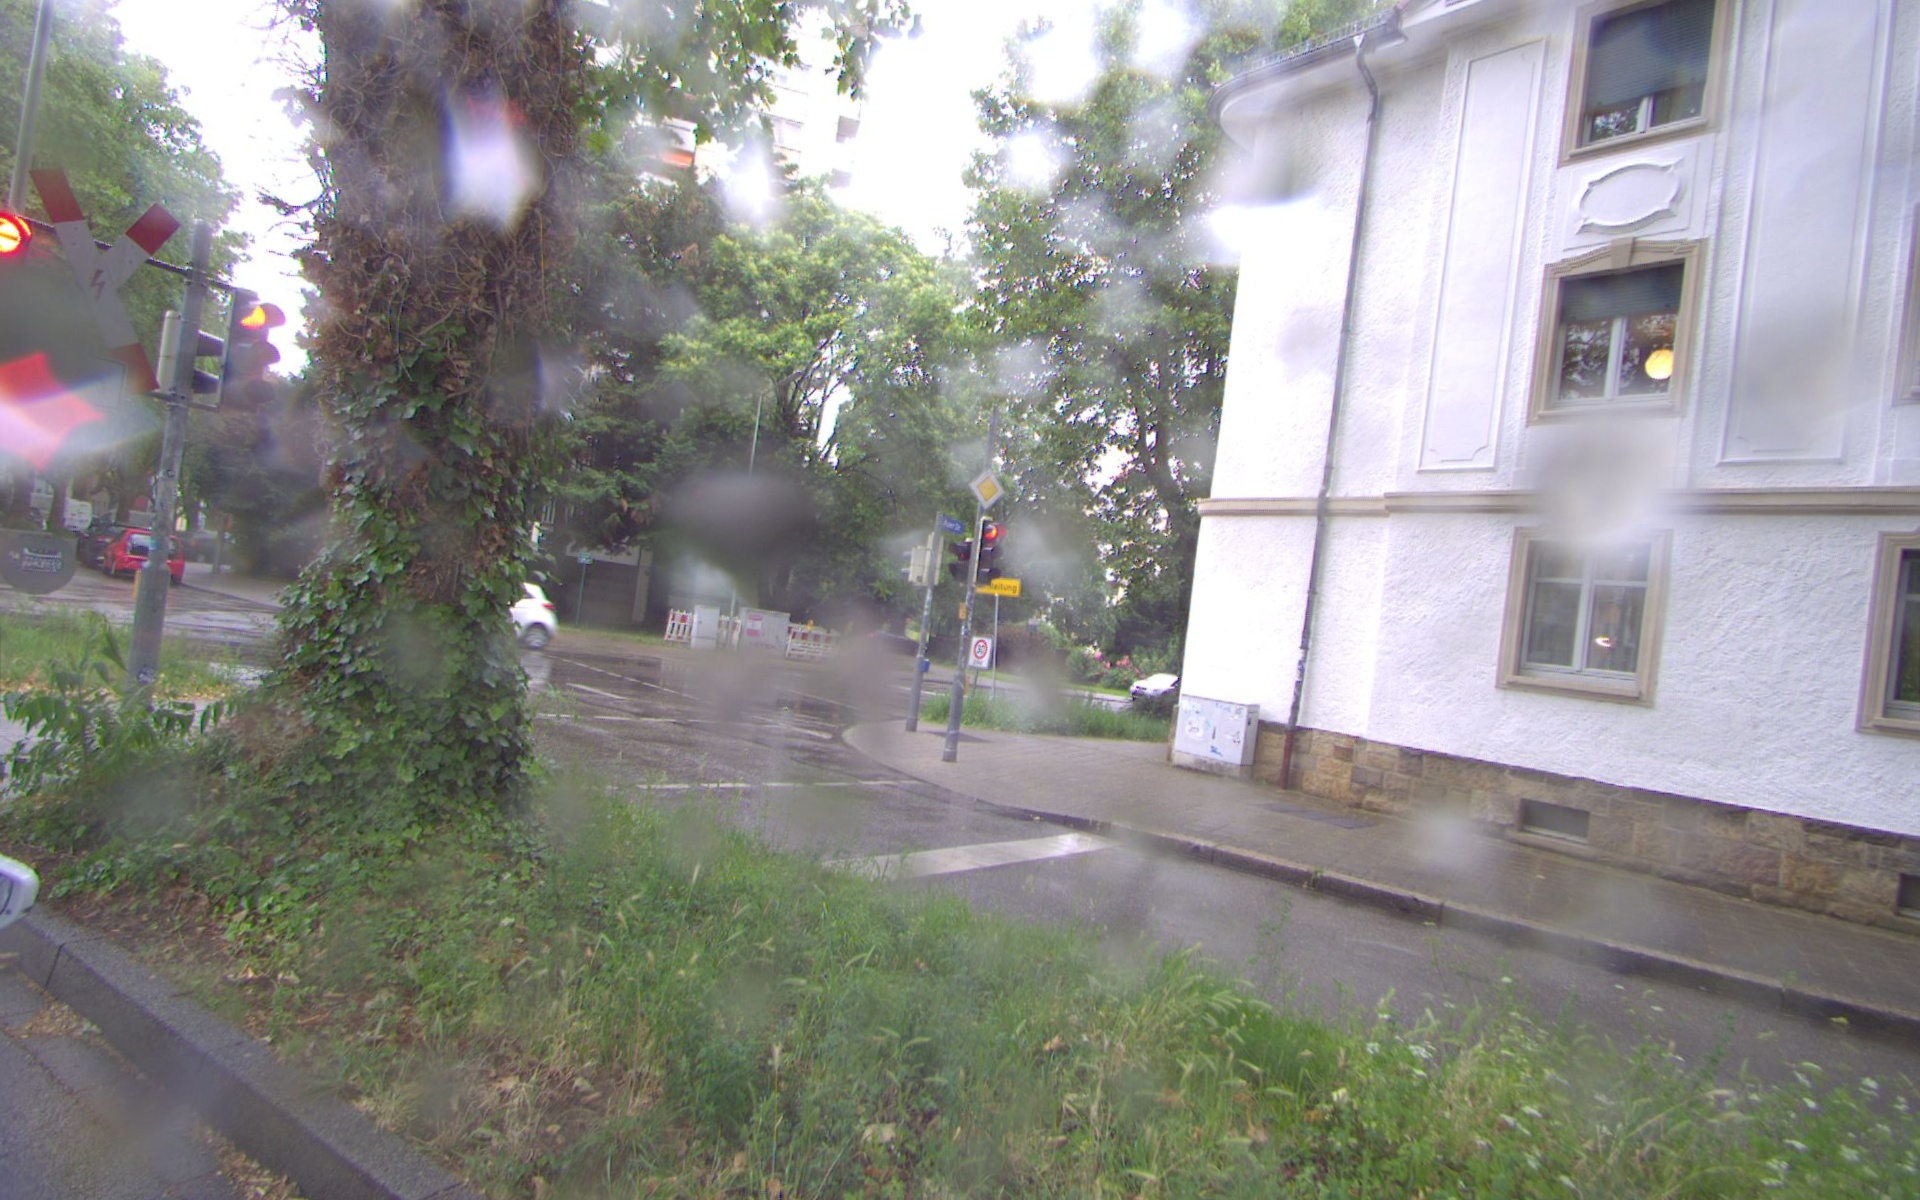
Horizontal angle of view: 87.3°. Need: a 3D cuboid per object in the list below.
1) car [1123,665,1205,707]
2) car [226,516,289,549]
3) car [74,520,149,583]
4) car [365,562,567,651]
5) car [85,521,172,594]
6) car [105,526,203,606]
[{"bbox_3d":[9.282,3.910,45.643,3.630,1.504,1.704,8,0,-43],"label":"car"},{"bbox_3d":[-57.123,-5.465,81.850,3.969,2.038,1.689,7,0,-39],"label":"car"},{"bbox_3d":[-32.898,-1.902,38.980,1.986,2.038,3.953,7,0,-42],"label":"car"},{"bbox_3d":[-10.947,0.168,22.416,3.629,1.504,1.704,8,0,-43],"label":"car"},{"bbox_3d":[-28.076,-1.468,33.920,1.986,2.038,3.953,7,0,-42],"label":"car"},{"bbox_3d":[-24.720,-1.076,30.809,1.986,2.038,3.953,7,0,-42],"label":"car"}]
